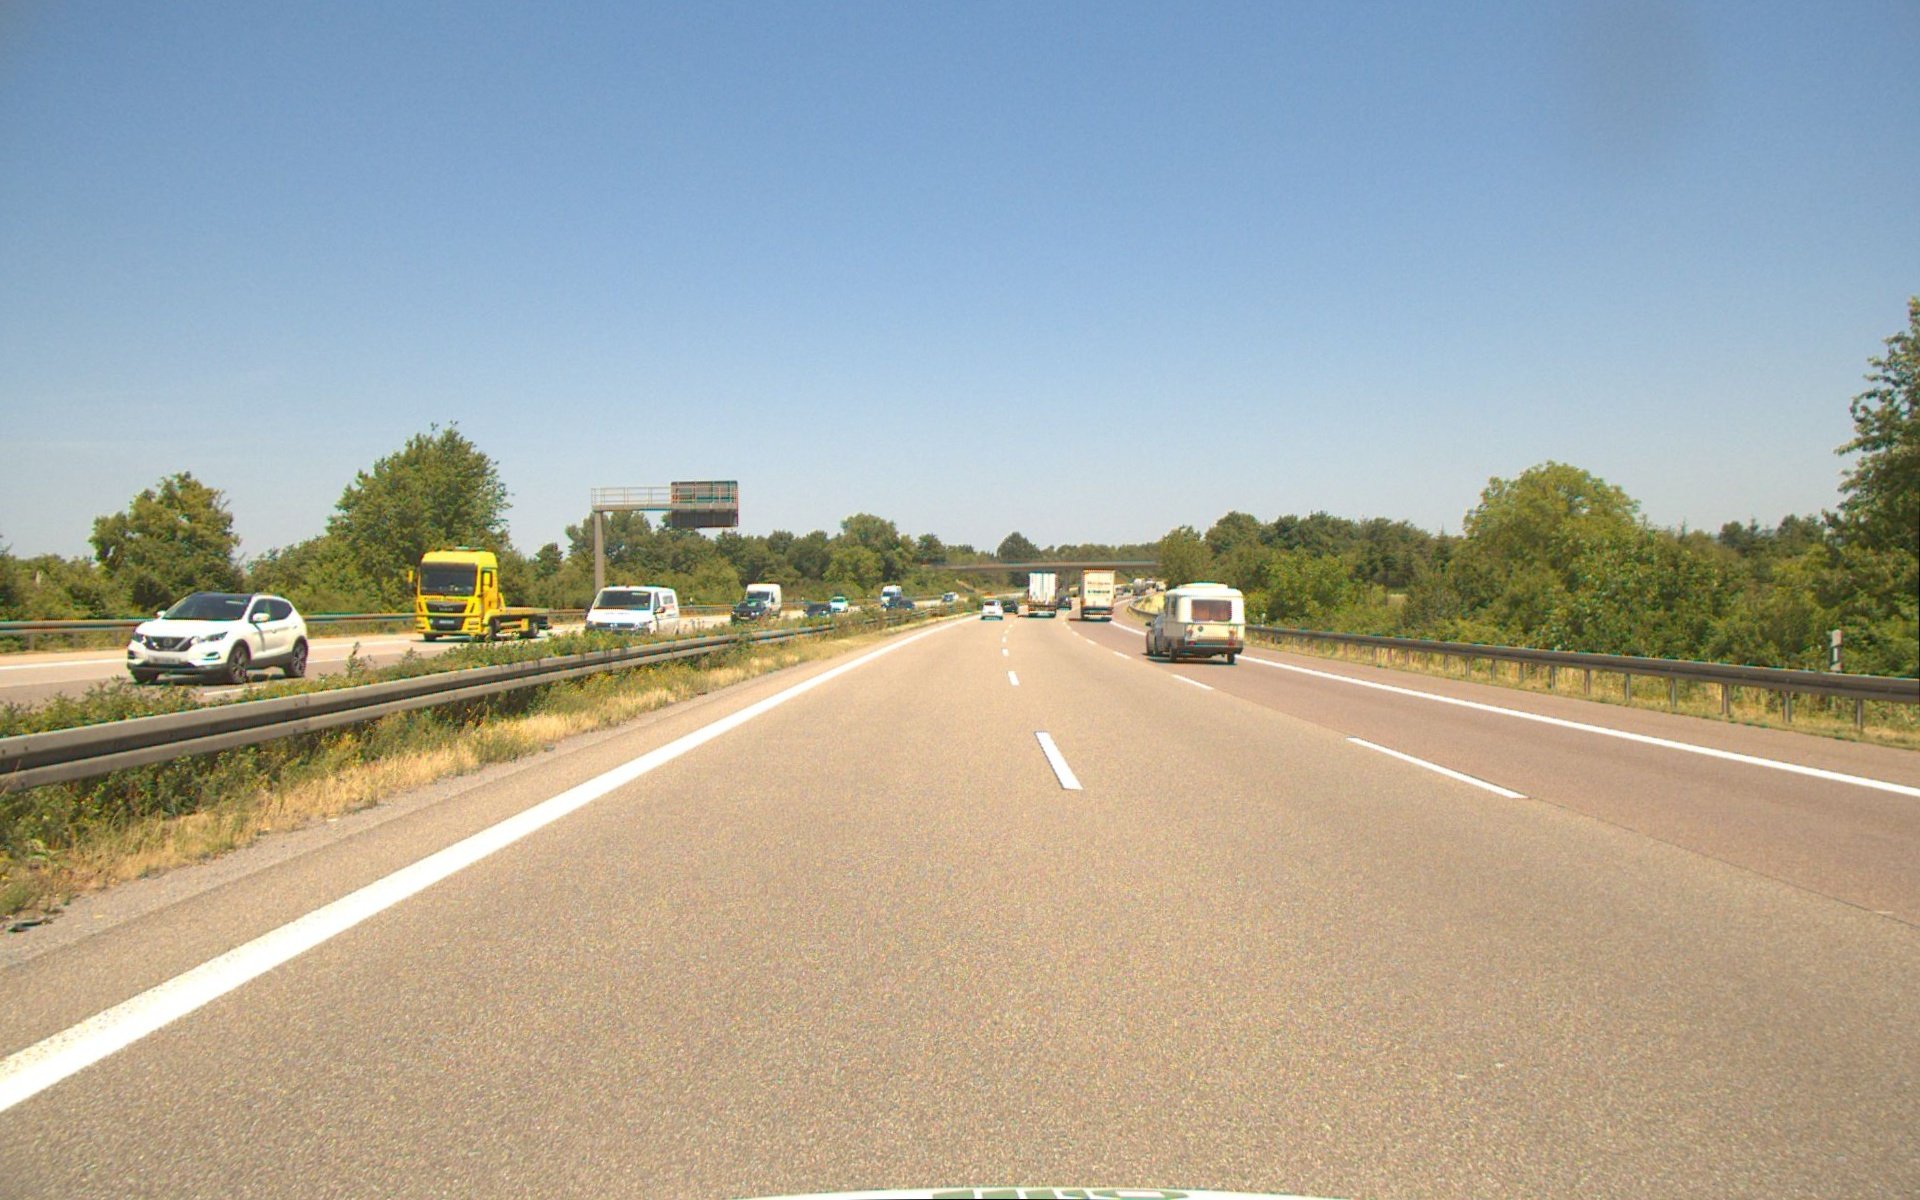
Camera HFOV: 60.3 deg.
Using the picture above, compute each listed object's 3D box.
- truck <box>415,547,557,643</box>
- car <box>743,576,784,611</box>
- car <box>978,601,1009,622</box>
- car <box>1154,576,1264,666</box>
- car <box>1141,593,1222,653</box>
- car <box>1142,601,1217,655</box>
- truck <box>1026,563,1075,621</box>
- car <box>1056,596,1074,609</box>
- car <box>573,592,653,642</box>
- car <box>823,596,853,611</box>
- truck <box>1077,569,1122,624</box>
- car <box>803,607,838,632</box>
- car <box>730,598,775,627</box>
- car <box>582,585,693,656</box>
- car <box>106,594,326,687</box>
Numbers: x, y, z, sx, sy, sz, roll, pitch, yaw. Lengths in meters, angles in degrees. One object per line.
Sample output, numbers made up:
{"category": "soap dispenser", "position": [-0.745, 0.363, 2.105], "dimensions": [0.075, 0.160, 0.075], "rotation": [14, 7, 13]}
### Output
{"category": "truck", "position": [-17.048, -0.157, 60.226], "dimensions": [2.470, 3.207, 9.666], "rotation": [0, 0, -1]}
{"category": "car", "position": [-14.362, -0.458, 121.098], "dimensions": [2.087, 2.520, 6.335], "rotation": [1, 0, 2]}
{"category": "car", "position": [2.691, 0.941, 132.340], "dimensions": [1.789, 1.574, 4.323], "rotation": [1, 1, 11]}
{"category": "car", "position": [7.060, 0.525, 47.449], "dimensions": [2.392, 2.362, 5.323], "rotation": [-1, 1, 1]}
{"category": "car", "position": [7.043, 0.685, 53.091], "dimensions": [2.002, 1.687, 5.512], "rotation": [0, 1, 1]}
{"category": "car", "position": [7.017, 0.859, 53.350], "dimensions": [1.848, 1.542, 5.381], "rotation": [2, 1, 2]}
{"category": "truck", "position": [8.568, -0.856, 154.541], "dimensions": [3.588, 5.105, 16.030], "rotation": [1, 1, 7]}
{"category": "car", "position": [13.490, 0.293, 212.464], "dimensions": [1.789, 1.574, 4.323], "rotation": [1, 1, 11]}
{"category": "car", "position": [-12.782, 0.614, 61.203], "dimensions": [1.953, 1.766, 4.814], "rotation": [0, 0, 0]}
{"category": "car", "position": [-11.970, 0.320, 162.352], "dimensions": [1.951, 1.483, 4.091], "rotation": [1, 0, 11]}
{"category": "truck", "position": [12.004, -0.430, 140.964], "dimensions": [3.113, 4.379, 16.031], "rotation": [1, 1, 7]}
{"category": "car", "position": [-7.862, 1.092, 93.169], "dimensions": [1.598, 1.378, 3.829], "rotation": [1, 0, 0]}
{"category": "car", "position": [-11.667, 0.690, 93.062], "dimensions": [1.938, 1.536, 4.235], "rotation": [1, 0, 0]}
{"category": "car", "position": [-9.164, 0.547, 47.475], "dimensions": [1.952, 1.914, 5.722], "rotation": [0, 0, 1]}
{"category": "car", "position": [-13.546, 0.692, 30.467], "dimensions": [1.953, 1.575, 4.726], "rotation": [0, 0, -1]}
